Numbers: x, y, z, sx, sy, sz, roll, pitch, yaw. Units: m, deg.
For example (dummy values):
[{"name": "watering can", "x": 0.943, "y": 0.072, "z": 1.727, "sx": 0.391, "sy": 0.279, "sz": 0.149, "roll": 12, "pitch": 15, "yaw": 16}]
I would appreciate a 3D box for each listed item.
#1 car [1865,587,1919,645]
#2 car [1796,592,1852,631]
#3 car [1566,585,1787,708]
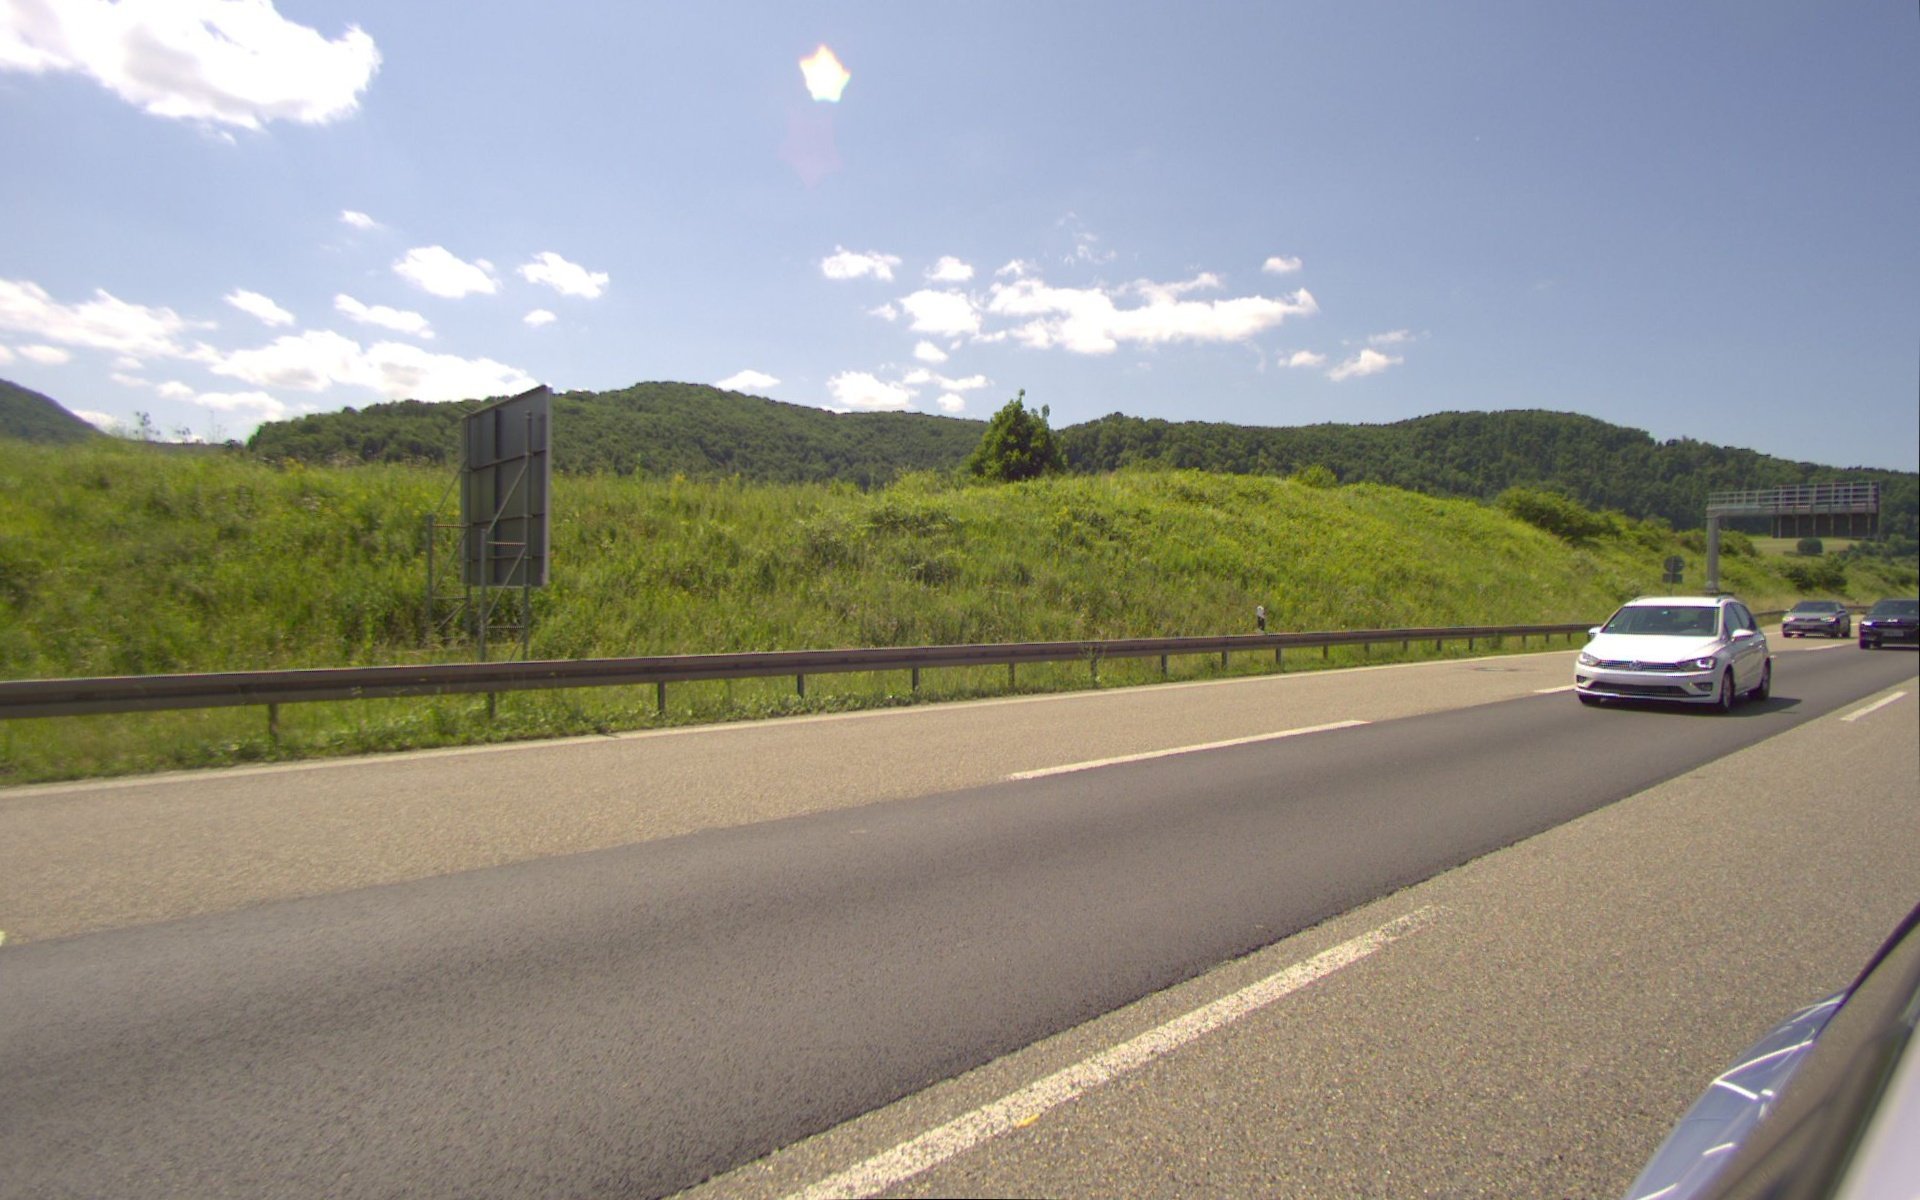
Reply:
[{"name": "car", "x": 30.867, "y": 0.497, "z": 32.781, "sx": 4.100, "sy": 1.794, "sz": 1.891, "roll": 0, "pitch": 1, "yaw": -42}, {"name": "car", "x": 37.358, "y": 0.460, "z": 43.707, "sx": 1.679, "sy": 1.615, "sz": 4.183, "roll": 0, "pitch": 0, "yaw": 43}, {"name": "car", "x": 10.557, "y": 0.573, "z": 14.812, "sx": 3.983, "sy": 1.560, "sz": 1.775, "roll": 0, "pitch": 0, "yaw": -41}]
